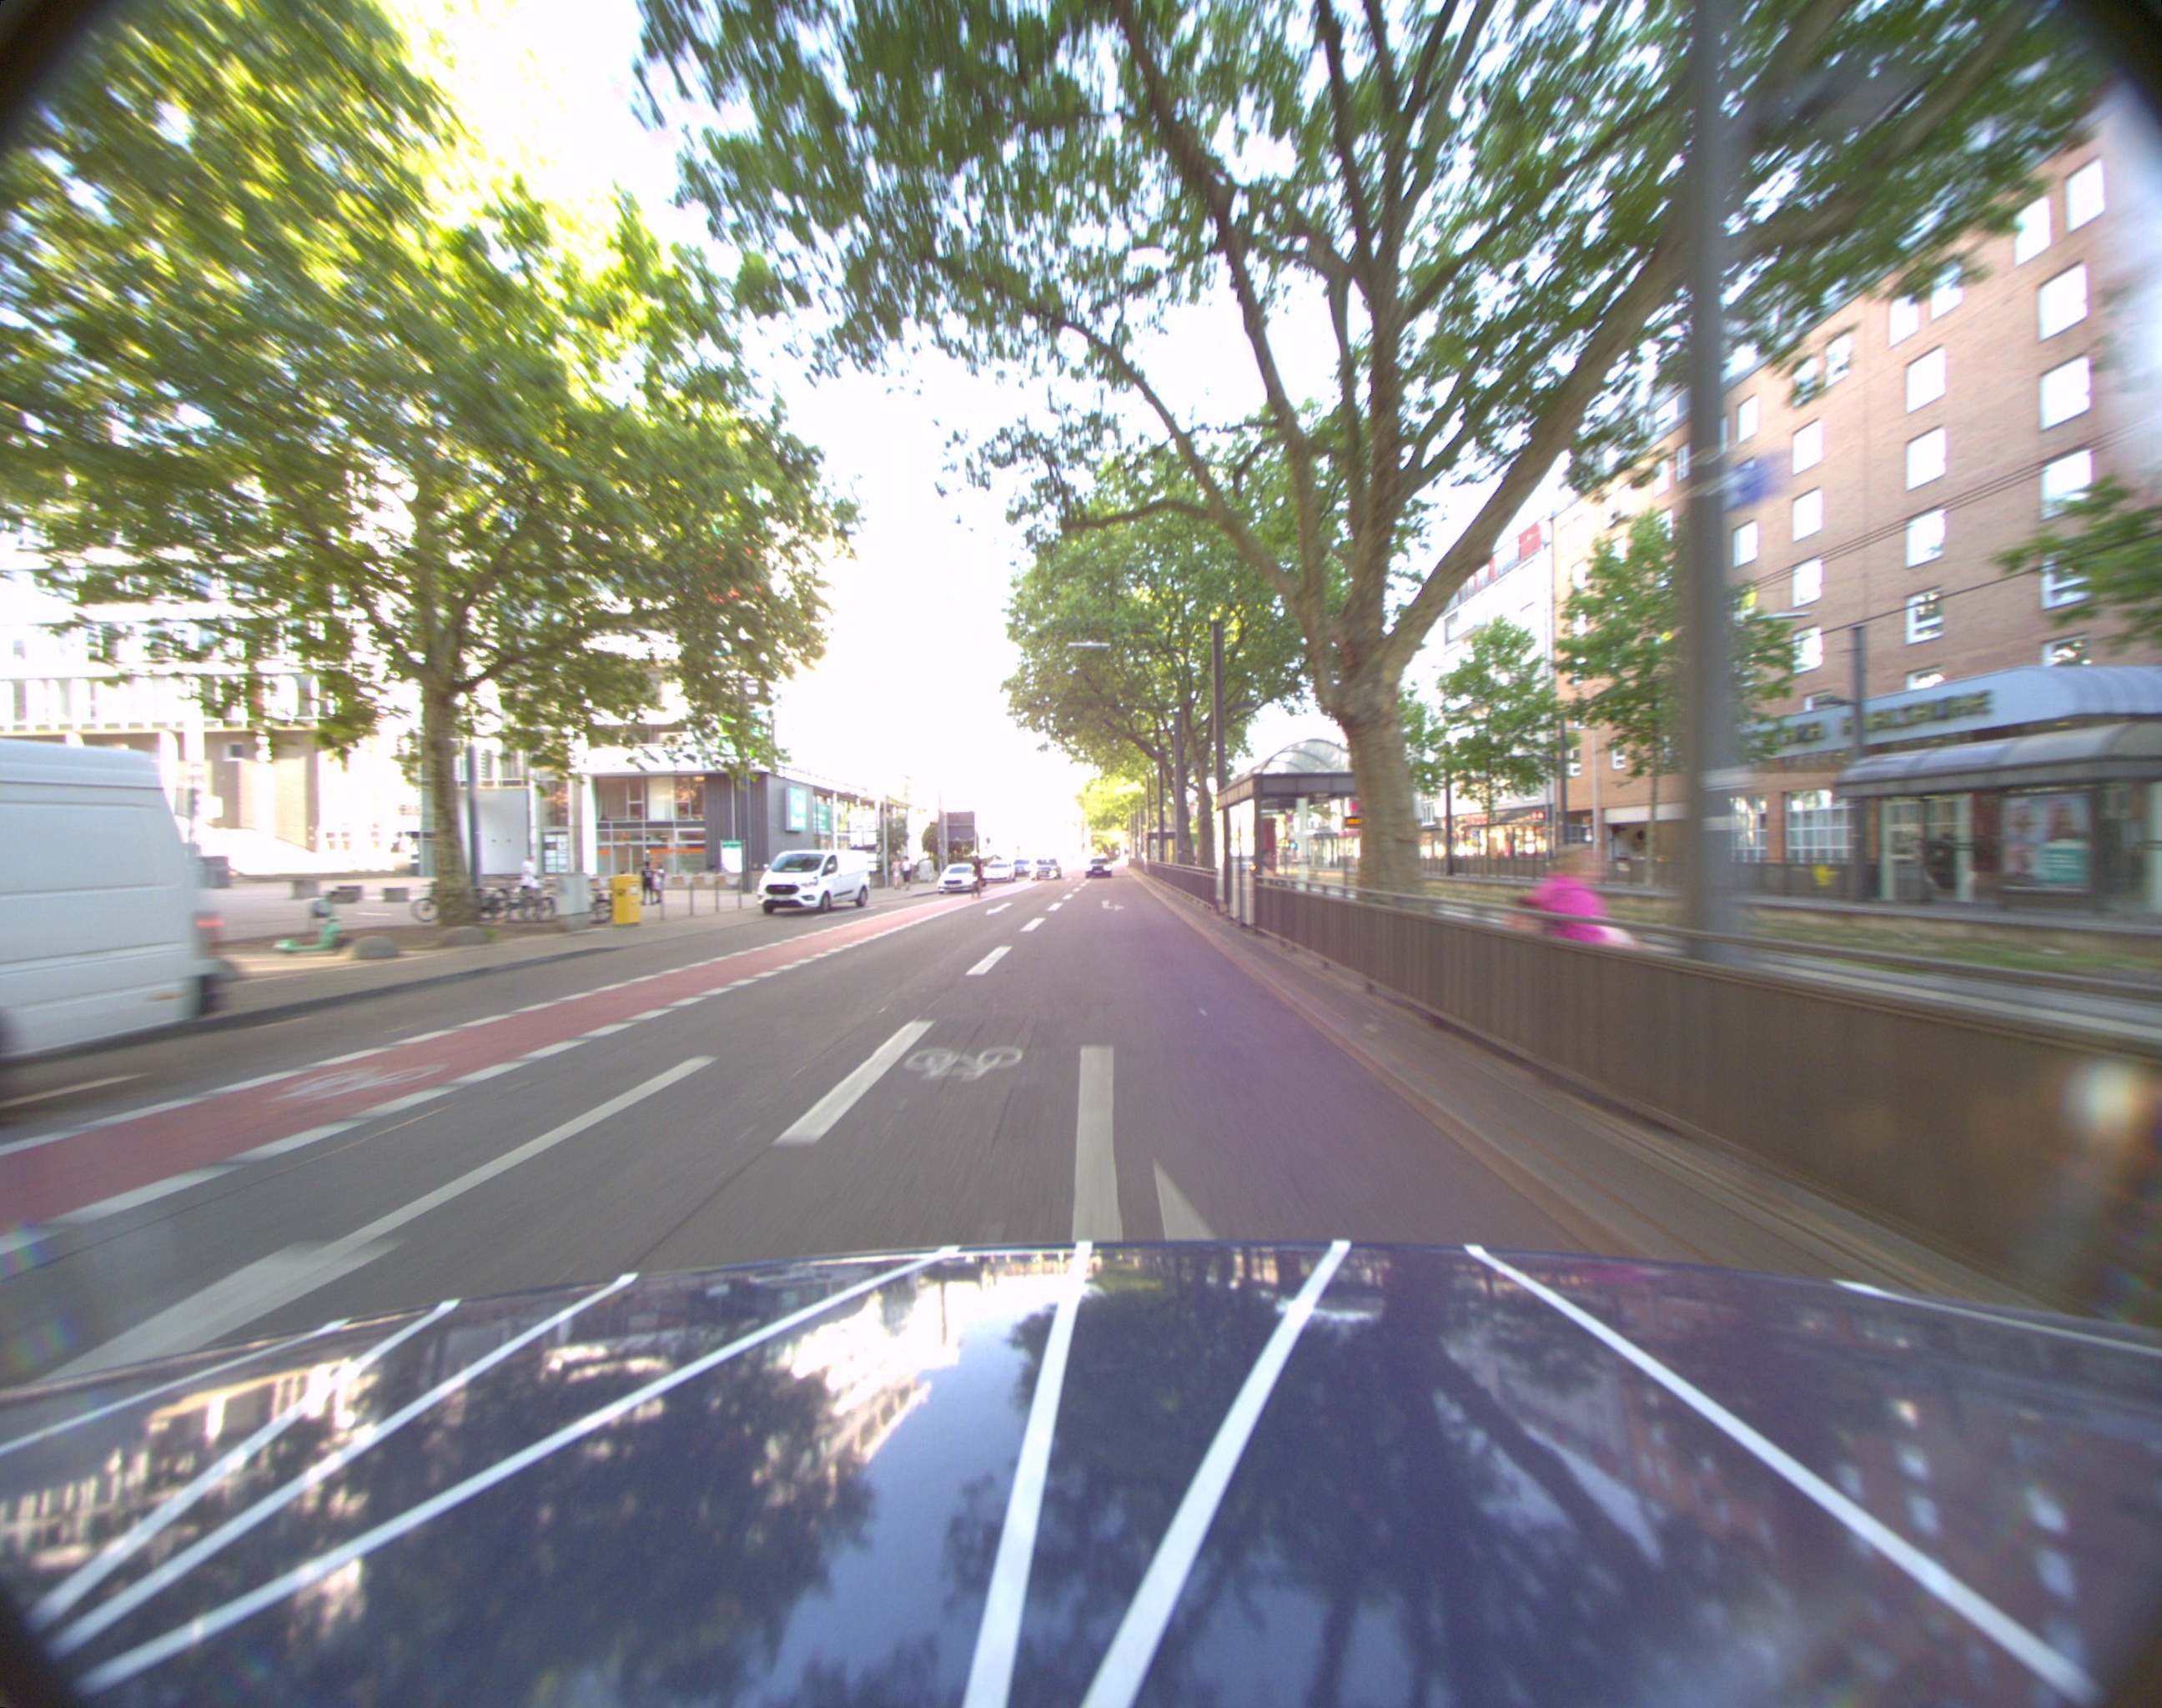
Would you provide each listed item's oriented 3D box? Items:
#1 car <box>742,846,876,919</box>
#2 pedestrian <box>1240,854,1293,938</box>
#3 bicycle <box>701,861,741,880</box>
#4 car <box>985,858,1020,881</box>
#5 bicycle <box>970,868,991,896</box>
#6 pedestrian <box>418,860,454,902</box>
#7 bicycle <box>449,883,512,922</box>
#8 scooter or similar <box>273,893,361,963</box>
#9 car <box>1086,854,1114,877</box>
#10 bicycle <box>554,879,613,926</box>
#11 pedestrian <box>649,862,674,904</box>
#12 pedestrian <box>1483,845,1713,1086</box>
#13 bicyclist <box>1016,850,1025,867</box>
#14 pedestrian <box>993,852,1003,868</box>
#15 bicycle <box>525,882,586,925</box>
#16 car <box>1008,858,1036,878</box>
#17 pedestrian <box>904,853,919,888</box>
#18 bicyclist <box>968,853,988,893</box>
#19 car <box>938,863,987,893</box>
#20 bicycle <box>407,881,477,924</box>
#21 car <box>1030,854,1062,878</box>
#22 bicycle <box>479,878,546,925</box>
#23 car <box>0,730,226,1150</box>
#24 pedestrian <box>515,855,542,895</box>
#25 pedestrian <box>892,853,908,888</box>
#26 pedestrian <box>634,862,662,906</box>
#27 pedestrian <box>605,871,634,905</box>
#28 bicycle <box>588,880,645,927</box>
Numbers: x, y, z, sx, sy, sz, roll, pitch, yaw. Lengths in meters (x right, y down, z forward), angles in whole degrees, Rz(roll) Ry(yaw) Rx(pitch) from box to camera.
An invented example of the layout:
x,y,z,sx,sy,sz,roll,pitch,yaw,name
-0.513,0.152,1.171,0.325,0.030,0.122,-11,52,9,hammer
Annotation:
x,y,z,sx,sy,sz,roll,pitch,yaw,name
-8.768,0.834,25.134,2.127,2.122,5.291,-1,0,5,car
3.158,0.702,13.006,0.735,1.379,0.640,-2,1,4,pedestrian
-20.148,0.929,42.574,1.879,1.057,0.700,0,1,1,bicycle
-5.390,1.061,52.354,1.670,1.455,3.870,-1,0,5,car
-4.294,1.163,32.561,0.551,1.114,2.127,0,0,1,bicycle
-22.784,0.936,26.836,0.712,1.448,0.601,-1,1,2,pedestrian
-16.084,1.290,20.394,0.460,0.953,1.510,0,0,1,bicycle
-13.745,1.329,13.677,1.210,1.217,0.411,-1,1,5,scooter or similar
1.269,0.788,53.361,1.827,1.416,4.346,-2,0,0,car
-13.208,1.271,20.227,0.514,1.151,1.539,-1,0,1,bicycle
-15.470,1.050,28.040,0.516,1.514,0.636,0,1,9,pedestrian
3.224,0.664,4.819,0.979,1.392,0.664,-2,1,4,pedestrian
-6.233,0.436,78.755,0.743,1.752,1.209,2,1,3,bicyclist
-7.965,0.574,72.802,0.753,1.566,0.912,-1,1,5,pedestrian
-14.000,1.295,20.280,0.460,1.023,1.627,-1,0,1,bicycle
-5.010,1.145,65.129,1.998,1.587,4.000,-1,0,2,car
-8.867,0.863,39.746,0.564,1.798,0.891,0,1,2,pedestrian
-4.400,0.821,32.554,0.752,1.678,0.714,-1,1,-2,bicyclist
-6.032,1.187,39.081,1.785,1.411,4.022,-1,0,2,car
-17.446,1.294,20.782,0.459,1.071,1.511,-1,0,10,bicycle
-2.483,0.824,55.022,1.785,1.628,4.023,-1,0,5,car
-15.323,1.255,20.528,0.460,1.172,1.719,0,0,1,bicycle
-8.029,0.599,2.844,1.998,2.708,6.561,-2,0,1,car
-23.230,0.868,31.961,0.539,1.666,0.723,0,1,2,pedestrian
-9.494,0.845,39.802,0.591,1.798,0.896,0,1,2,pedestrian
-15.544,1.063,27.306,0.577,1.534,0.638,0,1,9,pedestrian
-16.880,1.230,27.792,0.615,1.214,0.677,0,1,6,pedestrian
-12.353,1.294,20.252,0.514,1.151,1.539,-1,0,1,bicycle
